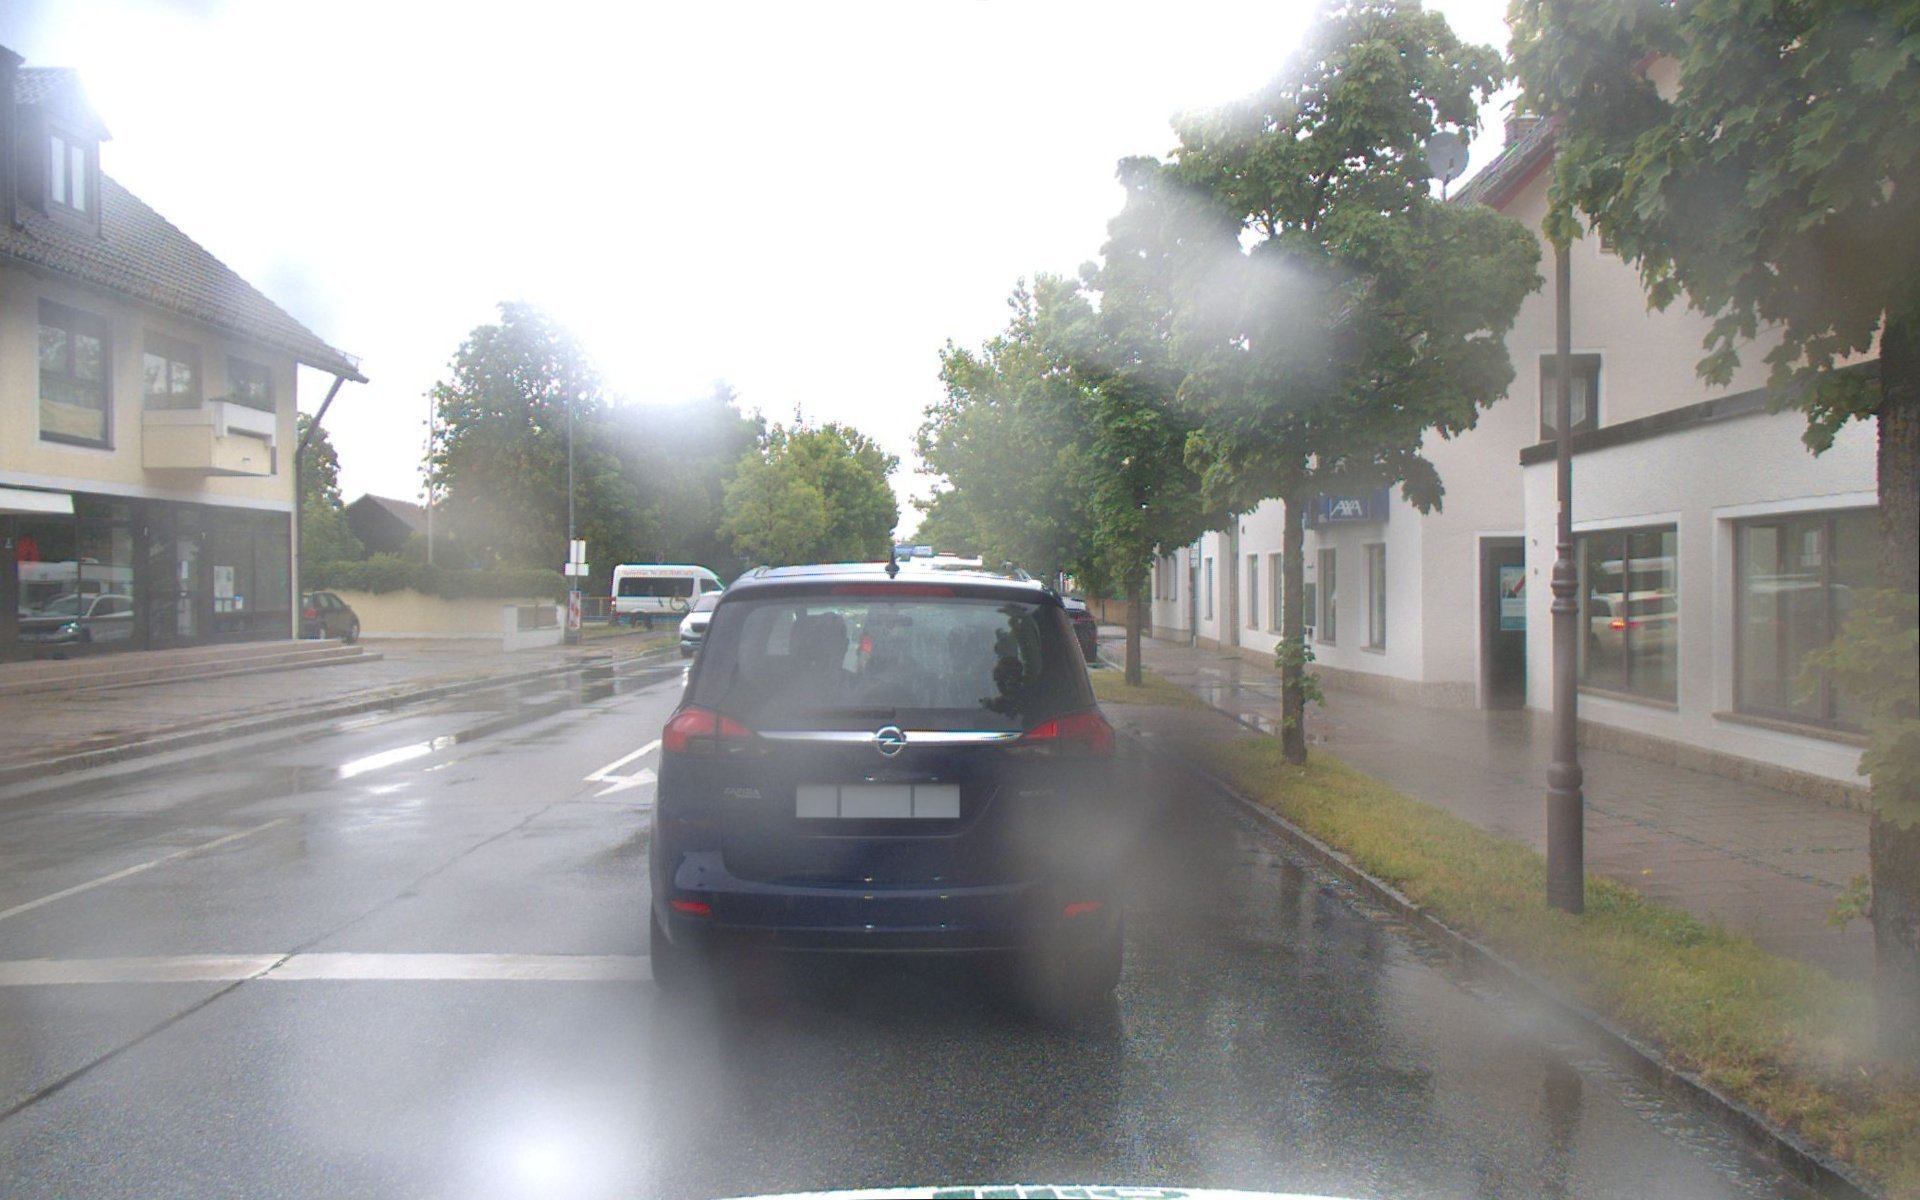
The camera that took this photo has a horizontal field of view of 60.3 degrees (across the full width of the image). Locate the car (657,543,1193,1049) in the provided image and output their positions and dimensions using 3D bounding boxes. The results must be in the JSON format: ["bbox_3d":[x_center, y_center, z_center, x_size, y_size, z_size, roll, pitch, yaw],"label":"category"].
[{"bbox_3d":[-0.135,0.643,7.279,1.733,1.632,3.662,1,0,-1],"label":"car"}]

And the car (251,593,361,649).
[{"bbox_3d":[-17.568,0.535,44.590,1.574,1.404,3.508,-1,0,-1],"label":"car"}]

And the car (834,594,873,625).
[{"bbox_3d":[-5.521,0.476,86.340,1.716,1.538,4.230,-2,0,0],"label":"car"}]

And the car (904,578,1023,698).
[{"bbox_3d":[0.032,0.542,25.919,1.720,1.736,3.618,0,0,-1],"label":"car"}]

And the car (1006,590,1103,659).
[{"bbox_3d":[2.305,0.586,41.443,2.075,1.609,3.934,1,0,-1],"label":"car"}]

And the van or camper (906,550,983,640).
[{"bbox_3d":[-0.502,-0.152,52.828,2.312,2.712,5.370,0,0,-1],"label":"van or camper"}]

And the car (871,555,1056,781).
[{"bbox_3d":[0.013,0.548,15.018,1.470,1.807,3.111,1,0,-1],"label":"car"}]

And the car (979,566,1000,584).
[{"bbox_3d":[2.470,-2.087,139.651,1.597,1.402,3.622,-1,0,-1],"label":"car"}]

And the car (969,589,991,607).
[{"bbox_3d":[1.535,-0.147,130.244,1.597,1.402,3.622,1,0,-1],"label":"car"}]

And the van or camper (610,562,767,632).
[{"bbox_3d":[-10.847,-0.140,66.586,6.129,2.754,2.098,0,0,-7],"label":"van or camper"}]

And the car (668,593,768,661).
[{"bbox_3d":[-6.072,0.640,41.918,1.927,1.590,4.151,-1,0,-1],"label":"car"}]

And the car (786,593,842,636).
[{"bbox_3d":[-5.686,0.546,64.712,1.887,1.594,4.125,-1,0,-1],"label":"car"}]
